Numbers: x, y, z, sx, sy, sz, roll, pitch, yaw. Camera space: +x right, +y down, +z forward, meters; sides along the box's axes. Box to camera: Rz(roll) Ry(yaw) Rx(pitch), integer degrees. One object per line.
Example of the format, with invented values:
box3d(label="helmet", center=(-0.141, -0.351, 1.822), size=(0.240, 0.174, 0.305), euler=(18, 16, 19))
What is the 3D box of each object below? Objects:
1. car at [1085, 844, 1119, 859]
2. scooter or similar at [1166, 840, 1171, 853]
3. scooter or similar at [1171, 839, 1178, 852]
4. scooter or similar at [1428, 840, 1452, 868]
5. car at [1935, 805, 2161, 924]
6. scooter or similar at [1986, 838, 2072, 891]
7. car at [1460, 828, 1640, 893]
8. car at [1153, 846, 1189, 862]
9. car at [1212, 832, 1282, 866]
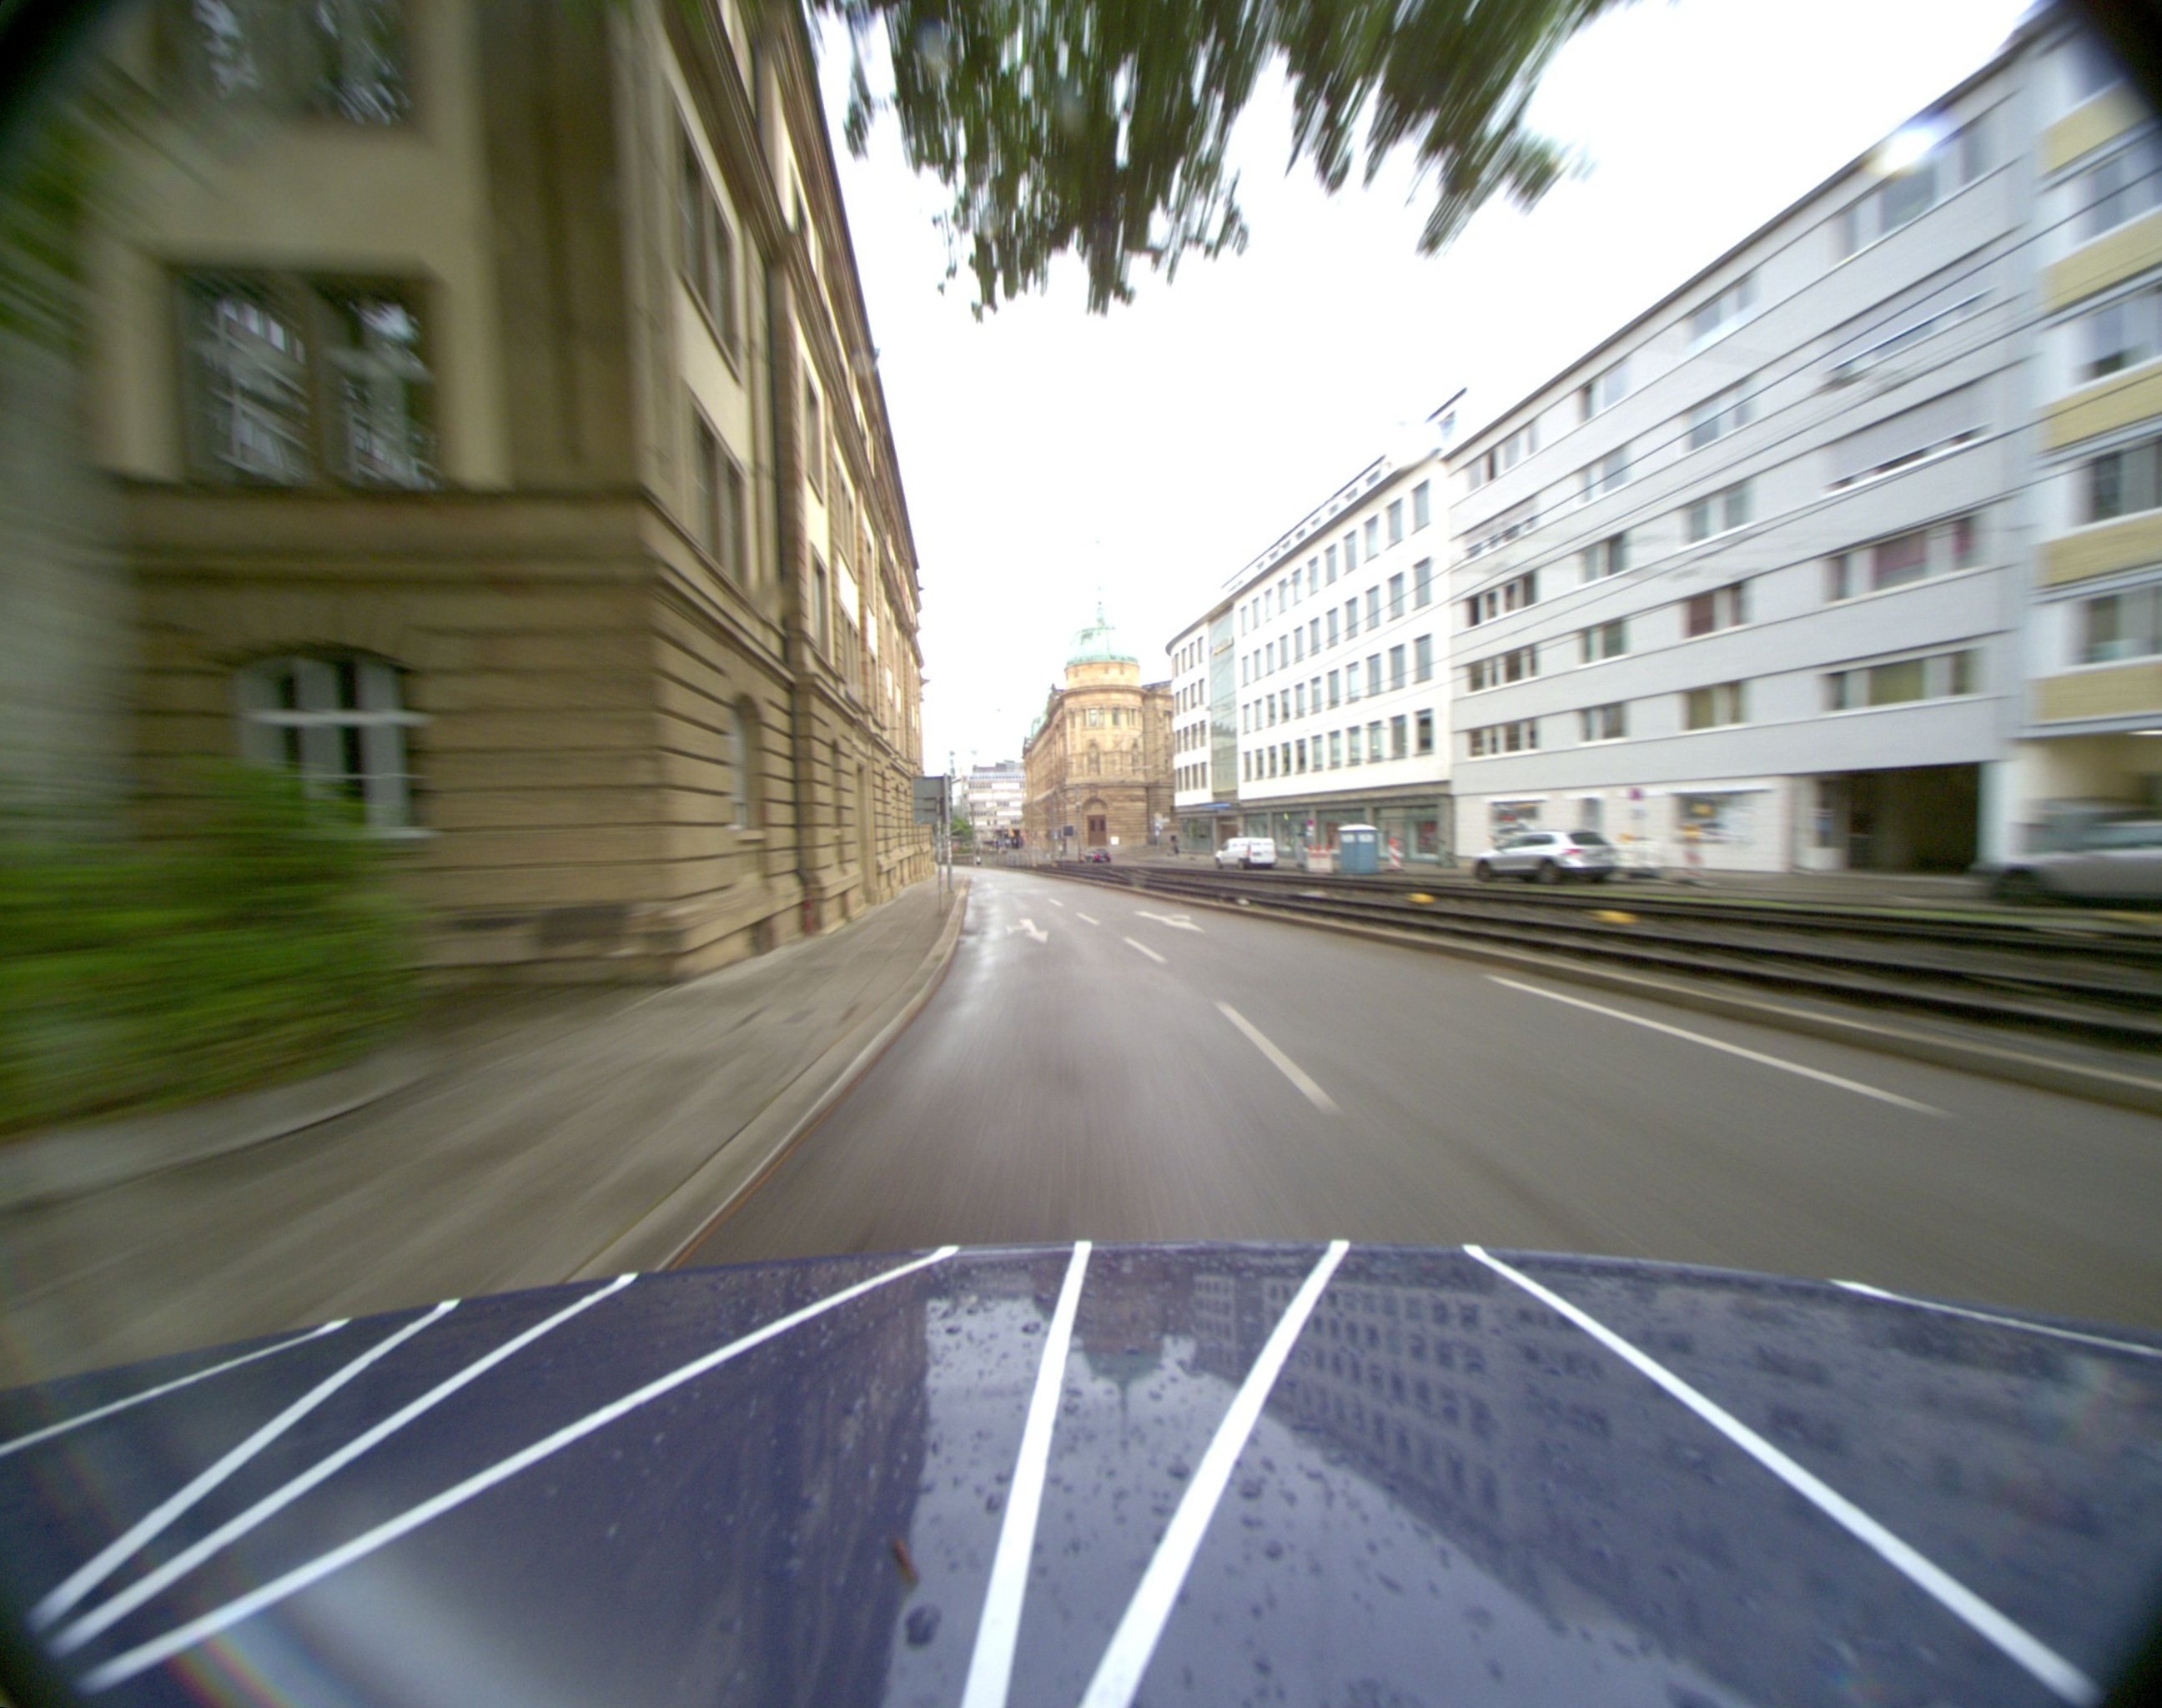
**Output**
box3d(label="car", center=(1.862, -0.279, 70.190), size=(2.001, 1.248, 4.688), euler=(-2, 2, -13))
box3d(label="scooter or similar", center=(8.439, -0.724, 73.444), size=(0.410, 1.194, 1.560), euler=(-3, 2, 5))
box3d(label="scooter or similar", center=(9.034, -0.819, 73.392), size=(0.410, 1.194, 1.561), euler=(-3, 3, 11))
box3d(label="scooter or similar", center=(15.688, -0.021, 33.227), size=(0.382, 1.196, 0.972), euler=(-4, 3, -12))
box3d(label="car", center=(16.811, 0.121, 11.552), size=(2.000, 1.665, 4.688), euler=(-4, 2, -13))
box3d(label="scooter or similar", center=(19.334, 0.227, 15.510), size=(0.382, 1.026, 0.973), euler=(-4, -1, -12))
box3d(label="car", center=(14.189, 0.181, 23.398), size=(2.000, 1.664, 4.691), euler=(-4, 1, -11))
box3d(label="car", center=(9.628, 0.013, 81.091), size=(1.780, 1.390, 4.334), euler=(-2, 3, 39))
box3d(label="car", center=(9.875, -0.341, 45.665), size=(2.000, 1.832, 5.124), euler=(-4, 2, -13))
